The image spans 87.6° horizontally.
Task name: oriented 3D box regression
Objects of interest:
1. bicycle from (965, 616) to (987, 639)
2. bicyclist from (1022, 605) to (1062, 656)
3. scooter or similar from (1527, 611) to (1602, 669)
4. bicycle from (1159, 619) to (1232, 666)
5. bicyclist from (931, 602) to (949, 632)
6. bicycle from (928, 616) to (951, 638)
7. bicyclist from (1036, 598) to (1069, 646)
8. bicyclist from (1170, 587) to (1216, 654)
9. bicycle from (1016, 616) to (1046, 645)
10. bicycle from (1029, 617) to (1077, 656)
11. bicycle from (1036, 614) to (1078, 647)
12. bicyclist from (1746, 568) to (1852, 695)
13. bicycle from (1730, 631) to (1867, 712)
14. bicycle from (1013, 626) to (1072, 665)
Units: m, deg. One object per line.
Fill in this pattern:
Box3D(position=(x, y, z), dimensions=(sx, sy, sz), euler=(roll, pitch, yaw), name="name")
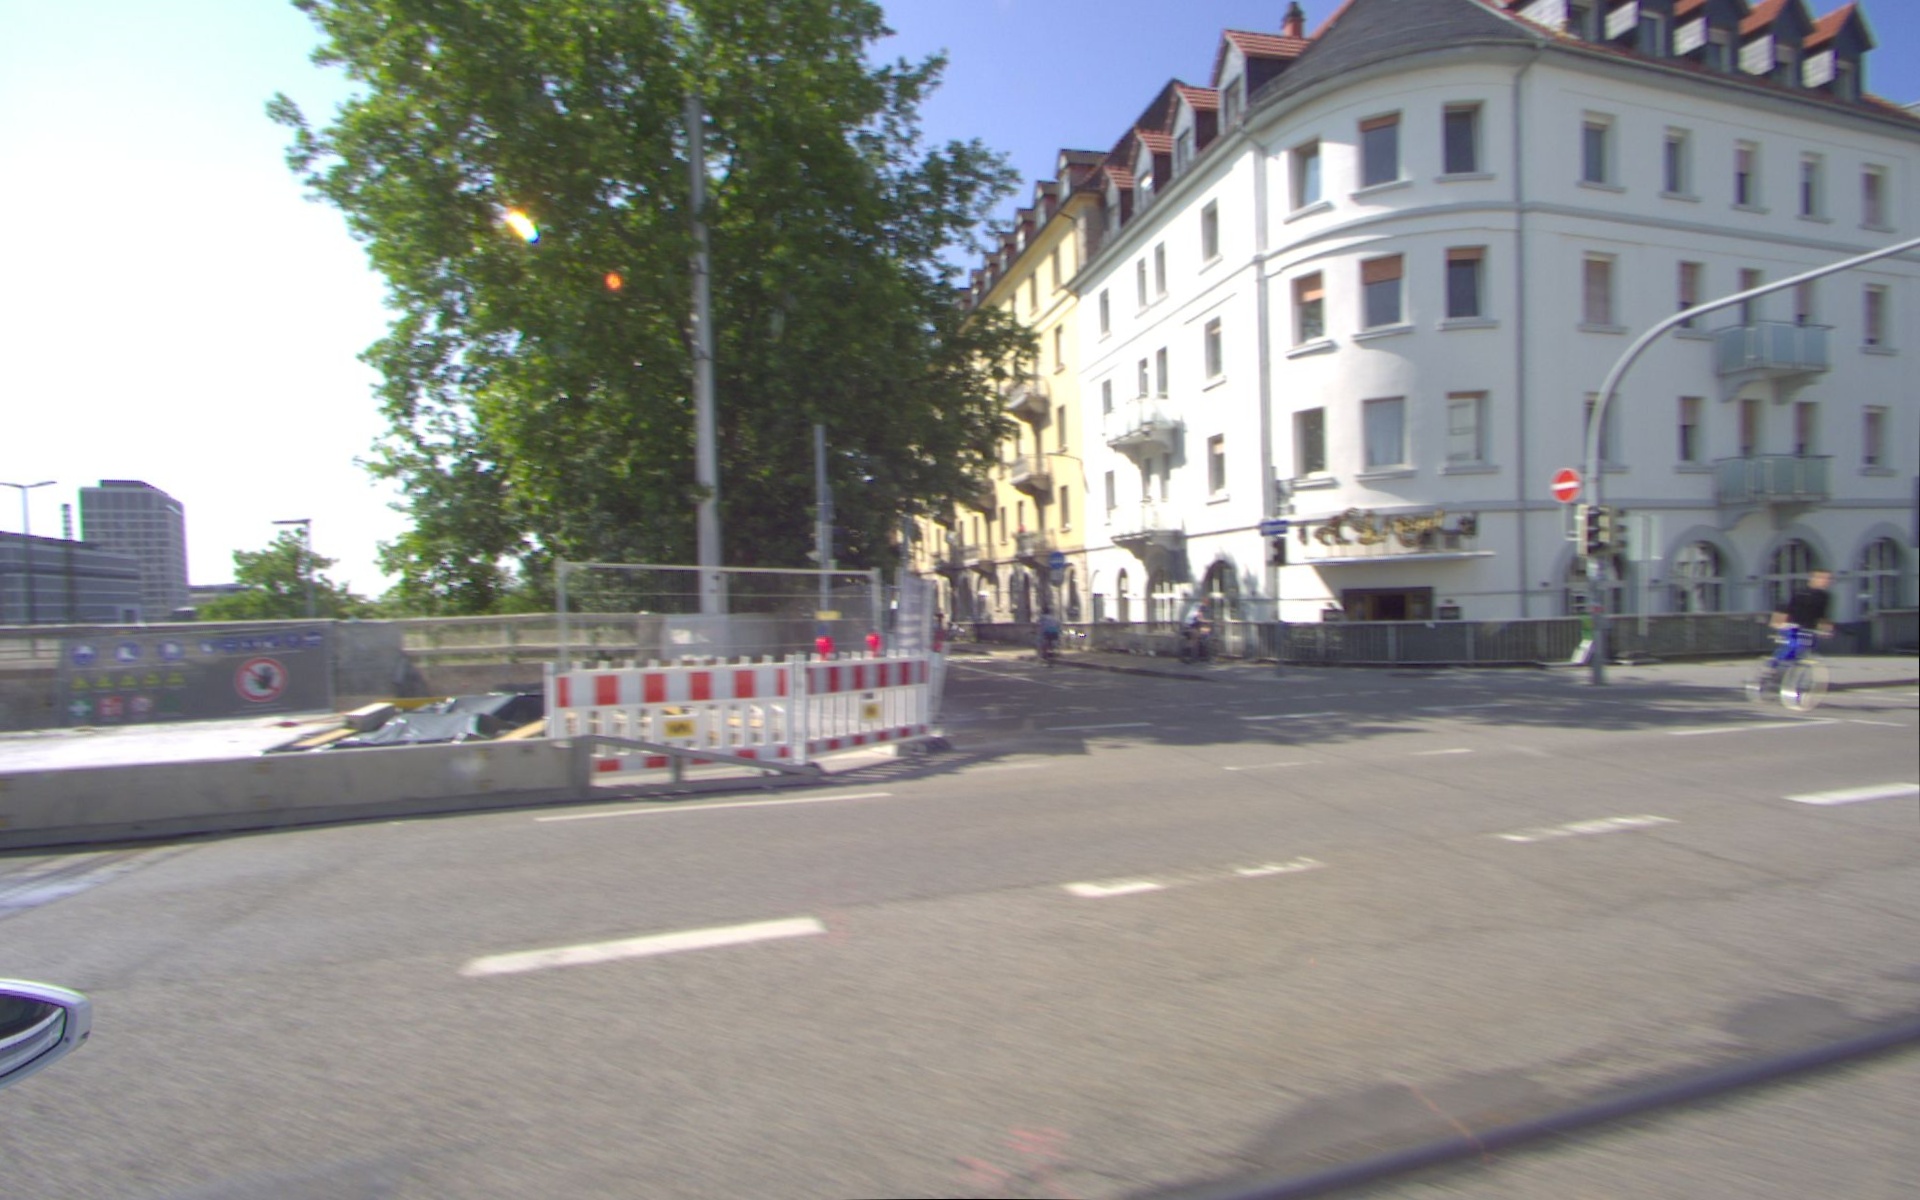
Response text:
Box3D(position=(0.798, 1.391, 51.405), dimensions=(0.670, 1.089, 2.290), euler=(-1, 1, -11), name="bicycle")
Box3D(position=(2.369, 0.867, 28.872), dimensions=(0.853, 1.434, 0.915), euler=(-1, 1, -20), name="bicyclist")
Box3D(position=(12.028, 0.796, 19.926), dimensions=(1.279, 1.133, 0.339), euler=(-1, 2, 0), name="scooter or similar")
Box3D(position=(5.744, 1.017, 24.483), dimensions=(0.699, 1.004, 1.811), euler=(-4, 2, -27), name="bicycle")
Box3D(position=(-1.085, 0.909, 54.122), dimensions=(0.824, 1.558, 1.023), euler=(-1, 0, -10), name="bicyclist")
Box3D(position=(-1.113, 1.451, 54.343), dimensions=(0.824, 1.151, 2.857), euler=(-1, 0, -9), name="bicycle")
Box3D(position=(2.978, 0.693, 32.166), dimensions=(0.824, 1.528, 0.952), euler=(-1, 1, -10), name="bicyclist")
Box3D(position=(5.696, 0.483, 24.494), dimensions=(0.699, 1.571, 0.781), euler=(-4, 3, -28), name="bicyclist")
Box3D(position=(2.942, 1.258, 41.851), dimensions=(0.670, 1.089, 2.290), euler=(-1, 1, -11), name="bicycle")
Box3D(position=(2.967, 1.157, 32.271), dimensions=(0.824, 1.151, 2.856), euler=(-1, 0, -10), name="bicycle")
Box3D(position=(3.579, 1.101, 37.223), dimensions=(0.824, 1.151, 2.856), euler=(-1, 0, -10), name="bicycle")
Box3D(position=(11.548, 0.434, 13.828), dimensions=(0.795, 1.675, 1.008), euler=(0, -1, 18), name="bicyclist")
Box3D(position=(11.579, 0.951, 13.913), dimensions=(0.807, 1.033, 1.909), euler=(0, -1, 18), name="bicycle")
Box3D(position=(2.358, 1.290, 28.887), dimensions=(0.853, 1.003, 2.240), euler=(-1, 0, -19), name="bicycle")
